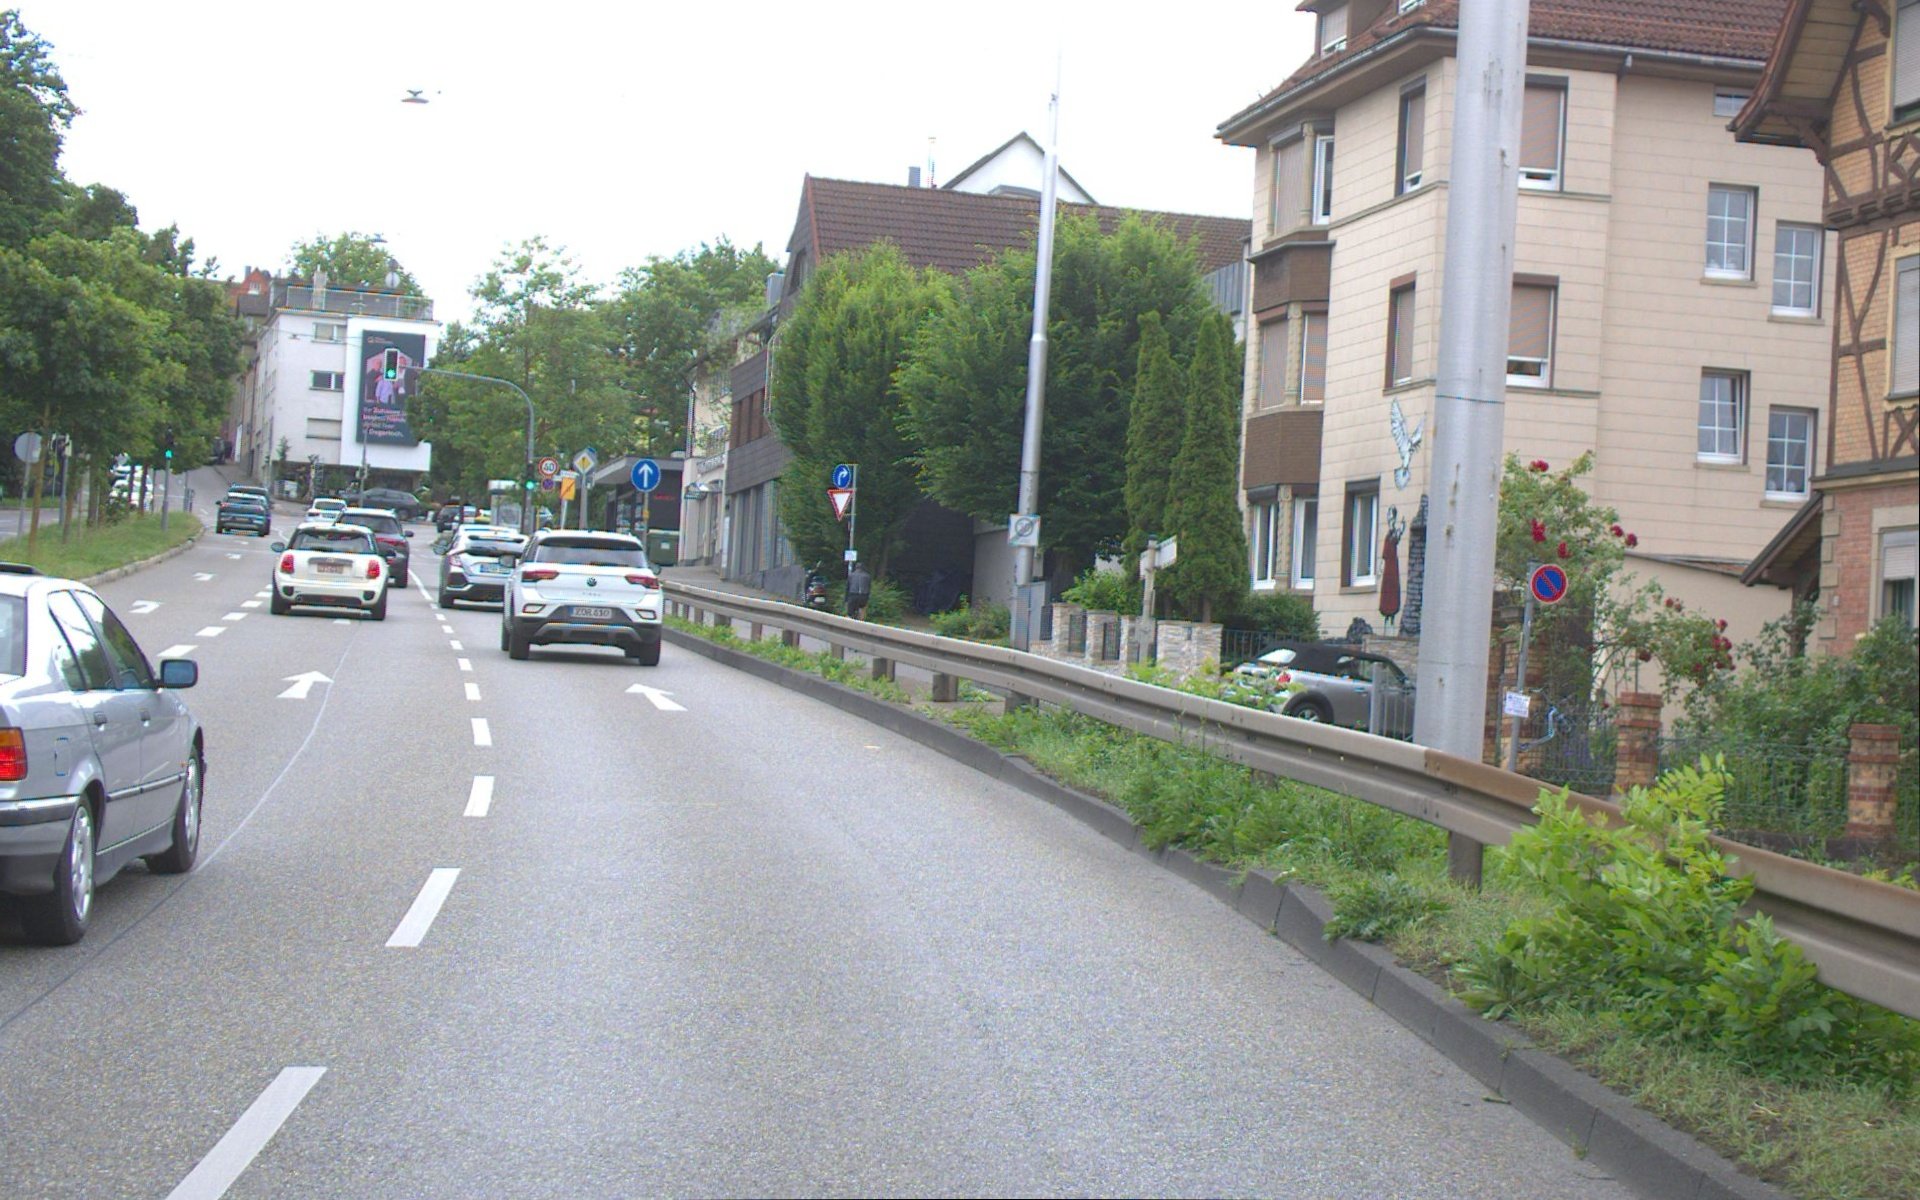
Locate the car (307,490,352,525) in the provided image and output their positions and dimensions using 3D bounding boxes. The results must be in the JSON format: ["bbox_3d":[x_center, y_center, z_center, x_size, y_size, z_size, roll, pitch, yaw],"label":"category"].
[{"bbox_3d":[-25.329,-3.705,138.108,1.722,1.371,3.457,1,1,-11],"label":"car"}]

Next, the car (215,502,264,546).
[{"bbox_3d":[-27.120,-2.854,129.332,1.722,1.577,3.458,1,1,-13],"label":"car"}]

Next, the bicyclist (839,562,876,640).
[{"bbox_3d":[-2.061,0.010,69.058,0.566,1.519,0.959,1,2,-12],"label":"bicyclist"}]

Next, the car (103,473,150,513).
[{"bbox_3d":[-39.064,-5.043,161.185,1.859,1.664,4.281,5,1,-11],"label":"car"}]

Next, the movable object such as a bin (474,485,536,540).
[{"bbox_3d":[-17.081,-3.277,128.930,1.891,1.863,1.529,5,1,-19],"label":"movable object such as a bin"}]

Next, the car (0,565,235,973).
[{"bbox_3d":[-4.061,0.563,13.863,1.634,1.378,4.620,0,0,-4],"label":"car"}]

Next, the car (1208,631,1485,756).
[{"bbox_3d":[5.717,1.384,50.878,3.602,1.430,1.705,6,1,-26],"label":"car"}]

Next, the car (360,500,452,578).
[{"bbox_3d":[-12.077,-1.323,74.815,1.722,1.634,3.458,1,1,-13],"label":"car"}]

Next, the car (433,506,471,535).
[{"bbox_3d":[-25.296,-3.962,171.144,1.722,1.371,3.457,1,1,-11],"label":"car"}]

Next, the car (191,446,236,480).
[{"bbox_3d":[-49.582,-9.075,228.448,2.509,2.006,5.183,5,1,-10],"label":"car"}]

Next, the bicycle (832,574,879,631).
[{"bbox_3d":[-2.109,0.048,69.256,0.566,1.059,2.006,1,2,-12],"label":"bicycle"}]

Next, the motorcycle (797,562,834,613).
[{"bbox_3d":[-3.538,-0.311,84.236,0.608,1.158,2.041,2,2,-9],"label":"motorcycle"}]

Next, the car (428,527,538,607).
[{"bbox_3d":[-8.589,-0.604,61.695,1.722,1.371,3.457,1,1,-12],"label":"car"}]

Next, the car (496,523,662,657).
[{"bbox_3d":[-4.609,-0.140,41.220,1.796,1.514,3.457,1,1,-9],"label":"car"}]

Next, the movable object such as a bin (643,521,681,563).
[{"bbox_3d":[-10.996,-2.146,126.826,1.195,1.403,0.711,5,1,-10],"label":"movable object such as a bin"}]

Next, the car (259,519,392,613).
[{"bbox_3d":[-9.781,-0.536,52.814,1.722,1.371,3.458,1,1,-15],"label":"car"}]
